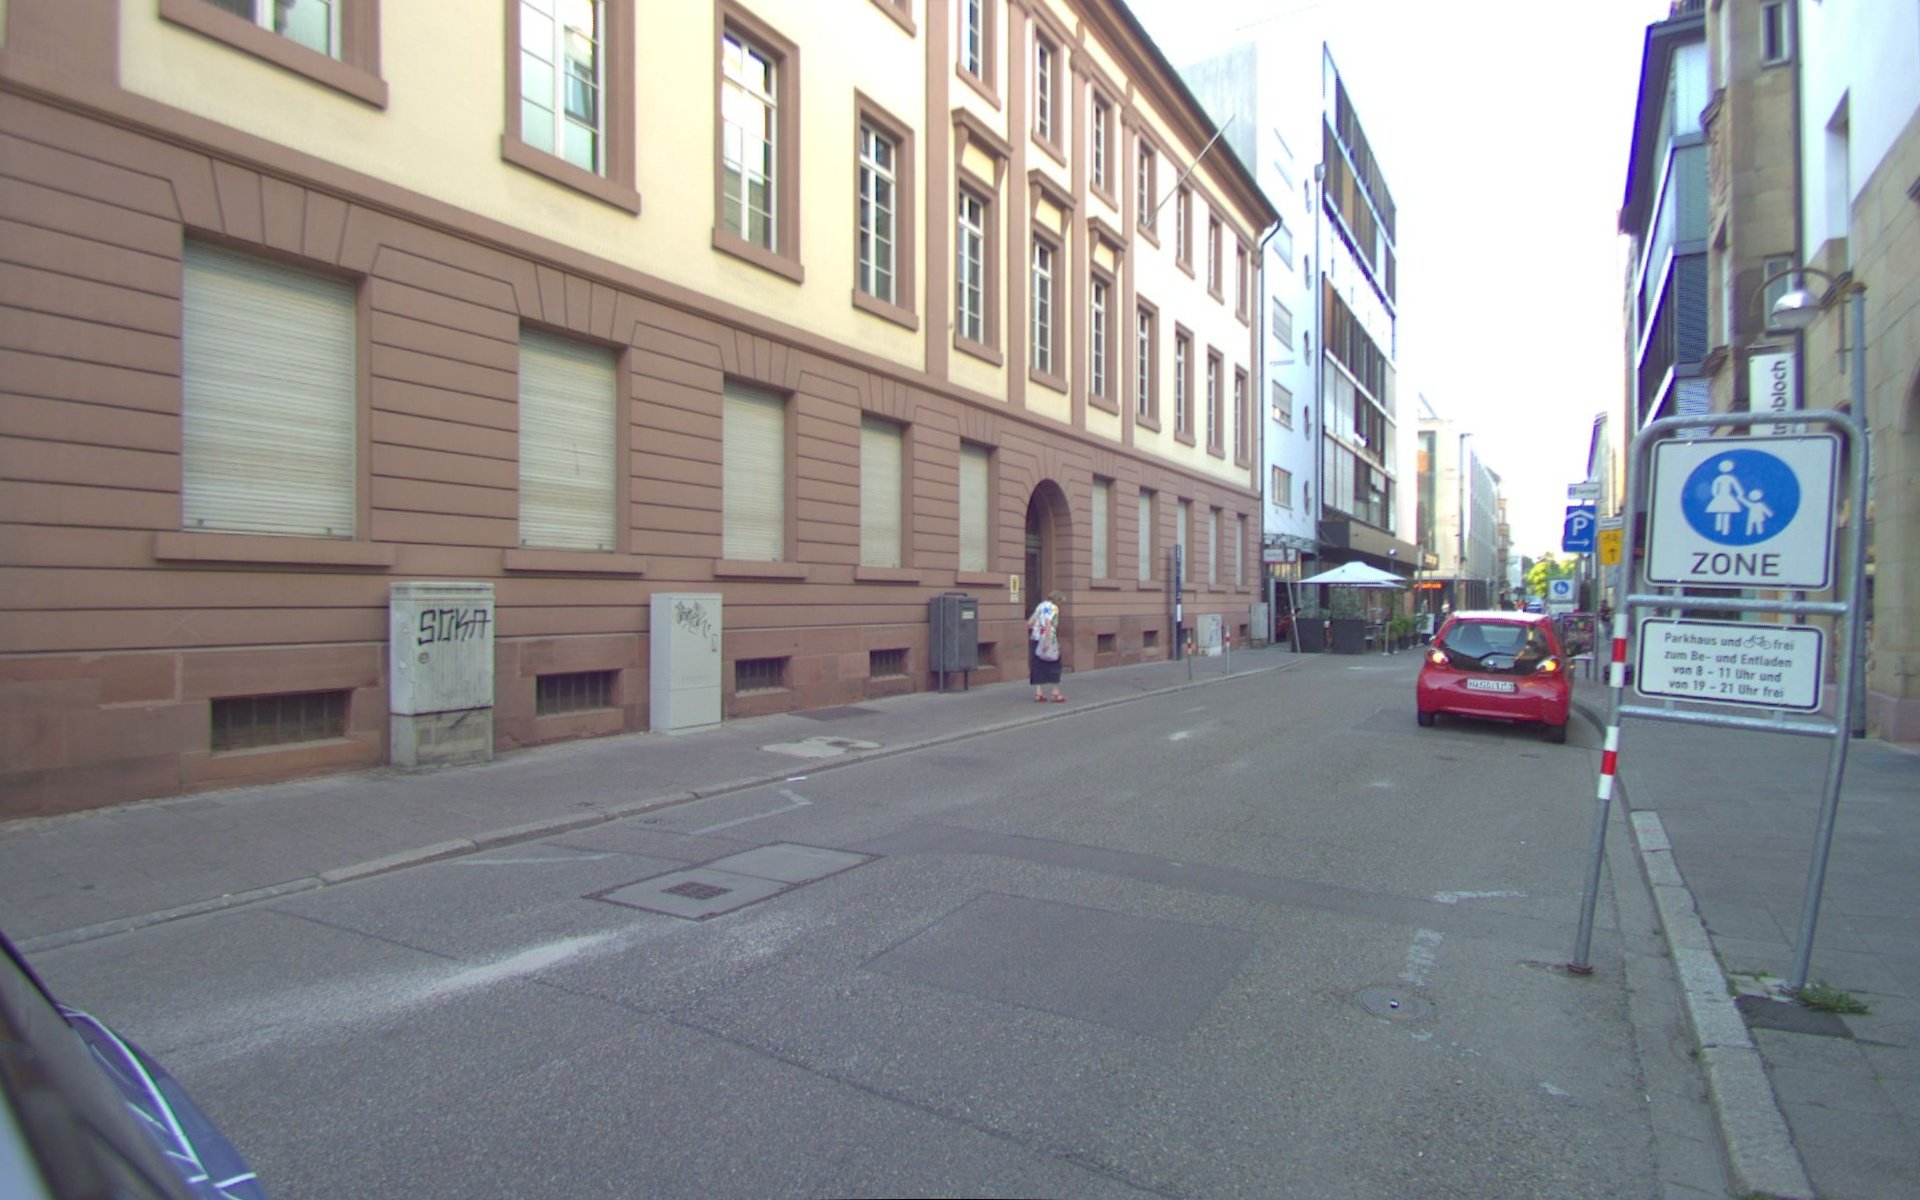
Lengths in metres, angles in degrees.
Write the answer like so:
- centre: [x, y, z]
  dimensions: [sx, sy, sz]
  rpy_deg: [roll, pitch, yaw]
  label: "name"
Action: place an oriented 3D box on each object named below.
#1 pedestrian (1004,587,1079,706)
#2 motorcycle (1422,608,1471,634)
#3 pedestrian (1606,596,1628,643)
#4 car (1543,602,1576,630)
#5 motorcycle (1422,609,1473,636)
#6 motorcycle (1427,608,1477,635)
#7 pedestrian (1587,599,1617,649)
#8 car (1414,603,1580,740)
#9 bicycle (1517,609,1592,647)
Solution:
- centre: [1.211, 0.658, 14.931]
  dimensions: [0.809, 1.684, 0.921]
  rpy_deg: [0, -1, 30]
  label: "pedestrian"
- centre: [24.822, 1.062, 51.653]
  dimensions: [2.188, 1.292, 0.644]
  rpy_deg: [0, 0, 34]
  label: "motorcycle"
- centre: [24.107, 0.708, 37.128]
  dimensions: [0.669, 1.684, 0.755]
  rpy_deg: [0, -1, 33]
  label: "pedestrian"
- centre: [32.067, 0.848, 54.192]
  dimensions: [1.422, 1.428, 3.854]
  rpy_deg: [-2, -1, 30]
  label: "car"
- centre: [23.692, 1.094, 49.230]
  dimensions: [2.188, 1.292, 0.644]
  rpy_deg: [0, 0, 34]
  label: "motorcycle"
- centre: [24.282, 1.045, 49.979]
  dimensions: [2.188, 1.292, 0.644]
  rpy_deg: [0, 0, 34]
  label: "motorcycle"
- centre: [22.199, 0.817, 34.993]
  dimensions: [0.809, 1.684, 0.921]
  rpy_deg: [0, -1, 30]
  label: "pedestrian"
- centre: [6.925, 0.794, 12.915]
  dimensions: [1.633, 1.452, 3.122]
  rpy_deg: [2, 1, 32]
  label: "car"
- centre: [18.387, 0.882, 31.327]
  dimensions: [1.948, 1.139, 0.613]
  rpy_deg: [-2, -2, 33]
  label: "bicycle"
